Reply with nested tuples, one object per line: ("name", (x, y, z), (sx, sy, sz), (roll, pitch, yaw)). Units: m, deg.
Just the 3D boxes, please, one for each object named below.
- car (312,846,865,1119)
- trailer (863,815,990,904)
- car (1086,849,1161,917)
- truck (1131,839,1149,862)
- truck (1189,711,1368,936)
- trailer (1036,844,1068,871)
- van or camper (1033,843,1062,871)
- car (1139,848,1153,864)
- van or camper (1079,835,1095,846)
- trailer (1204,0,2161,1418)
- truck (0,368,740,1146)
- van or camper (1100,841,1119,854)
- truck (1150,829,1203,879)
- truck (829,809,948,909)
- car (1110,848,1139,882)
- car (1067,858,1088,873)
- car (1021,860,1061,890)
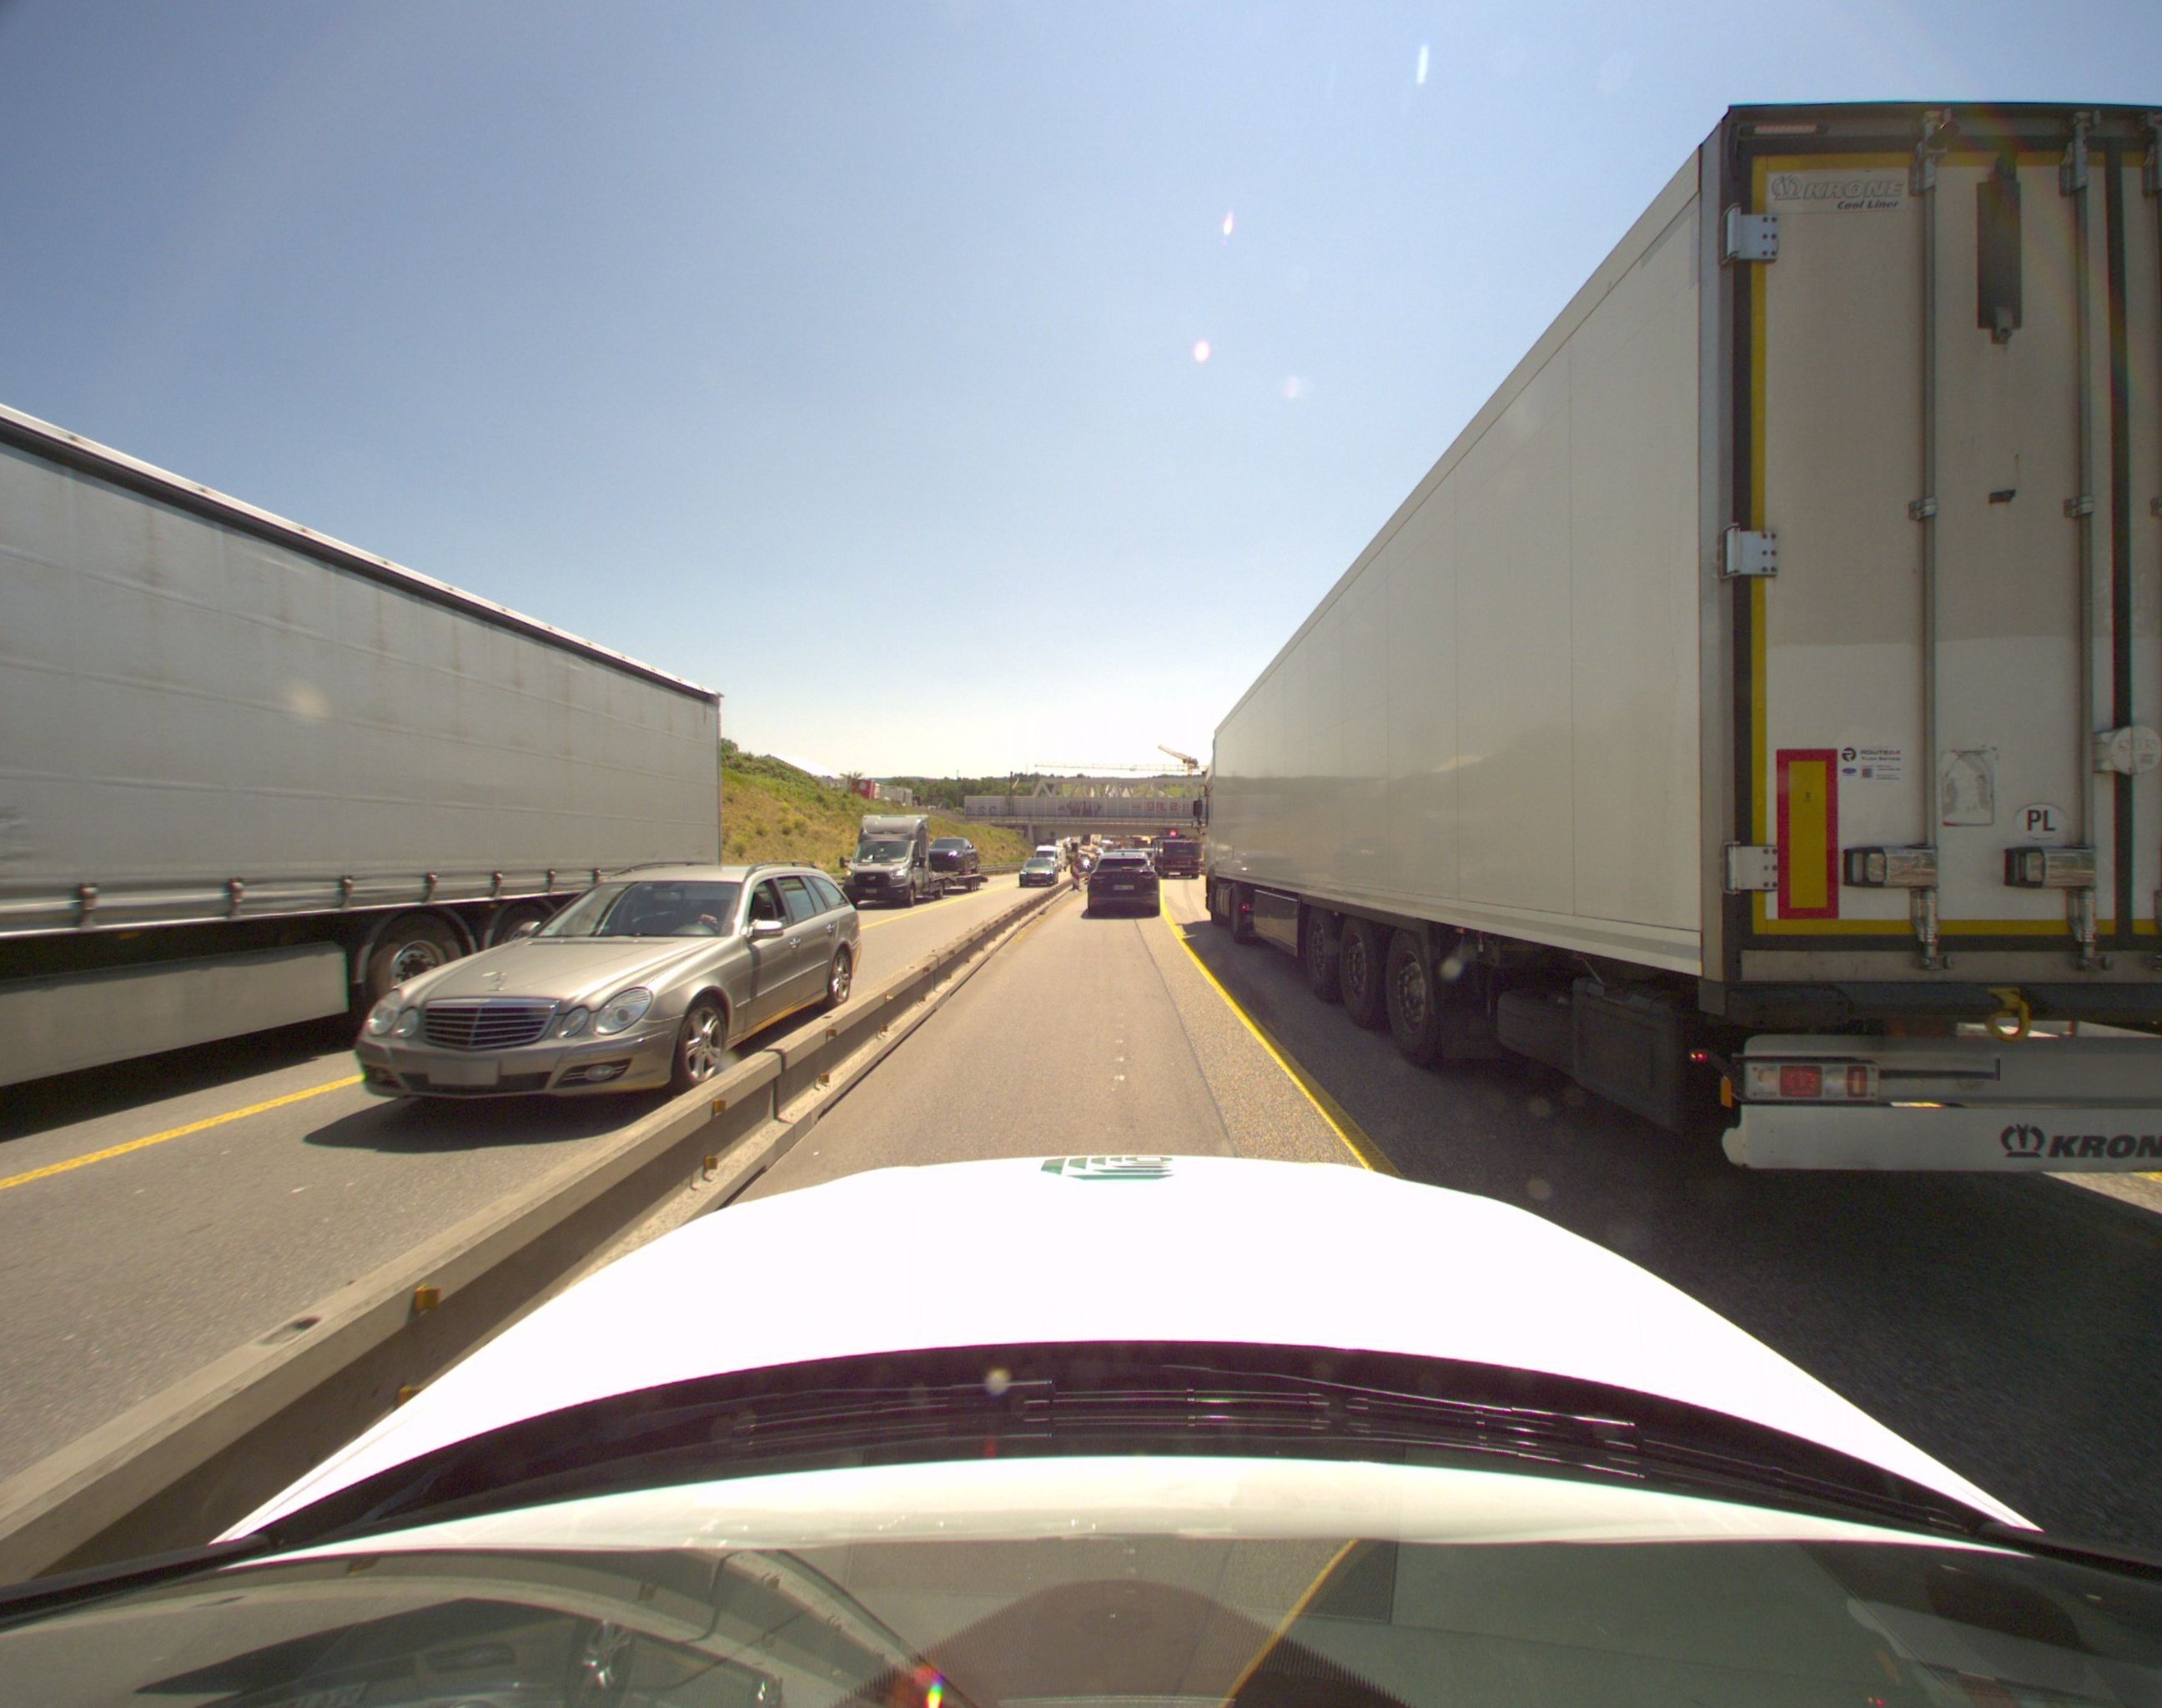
("car", (-3.279, 0.710, 6.593), (1.820, 1.487, 4.197), (-1, 0, 1))
("trailer", (-5.810, 0.191, 33.303), (2.259, 2.882, 13.048), (0, 0, 2))
("car", (1.055, 0.709, 21.161), (1.794, 1.620, 3.298), (0, 0, 1))
("truck", (11.419, -0.596, 158.793), (3.163, 4.318, 9.263), (-1, 0, 3))
("truck", (3.907, -0.554, 17.268), (2.766, 4.058, 4.907), (-1, 0, 2))
("trailer", (-2.731, 0.322, 78.670), (2.206, 2.481, 8.534), (0, 0, 3))
("van or camper", (-3.017, 0.266, 74.249), (2.206, 2.481, 4.755), (0, 0, 3))
("car", (9.416, 0.338, 118.577), (1.656, 2.269, 3.796), (1, 0, 0))
("van or camper", (1.885, -4.408, 263.310), (3.942, 3.419, 8.381), (0, 0, -9))
("trailer", (3.573, -0.522, 9.231), (2.790, 4.058, 14.125), (-1, 0, 2))
("truck", (-7.009, -0.510, 6.086), (2.757, 4.087, 13.811), (0, 0, 2))
("van or camper", (7.863, -1.794, 228.265), (3.942, 3.419, 8.381), (0, 0, -9))
("truck", (6.705, -0.007, 58.792), (2.803, 3.135, 12.845), (-1, 0, 2))
("truck", (-6.054, 0.155, 26.494), (2.259, 2.882, 5.853), (0, 0, 2))
("car", (2.412, 0.564, 44.628), (1.468, 1.795, 3.301), (1, 0, 4))
("car", (-0.268, 1.024, 71.372), (1.603, 1.276, 3.169), (0, 0, 3))
("car", (-2.023, 1.033, 42.044), (1.659, 1.428, 4.003), (-1, 0, 3))
